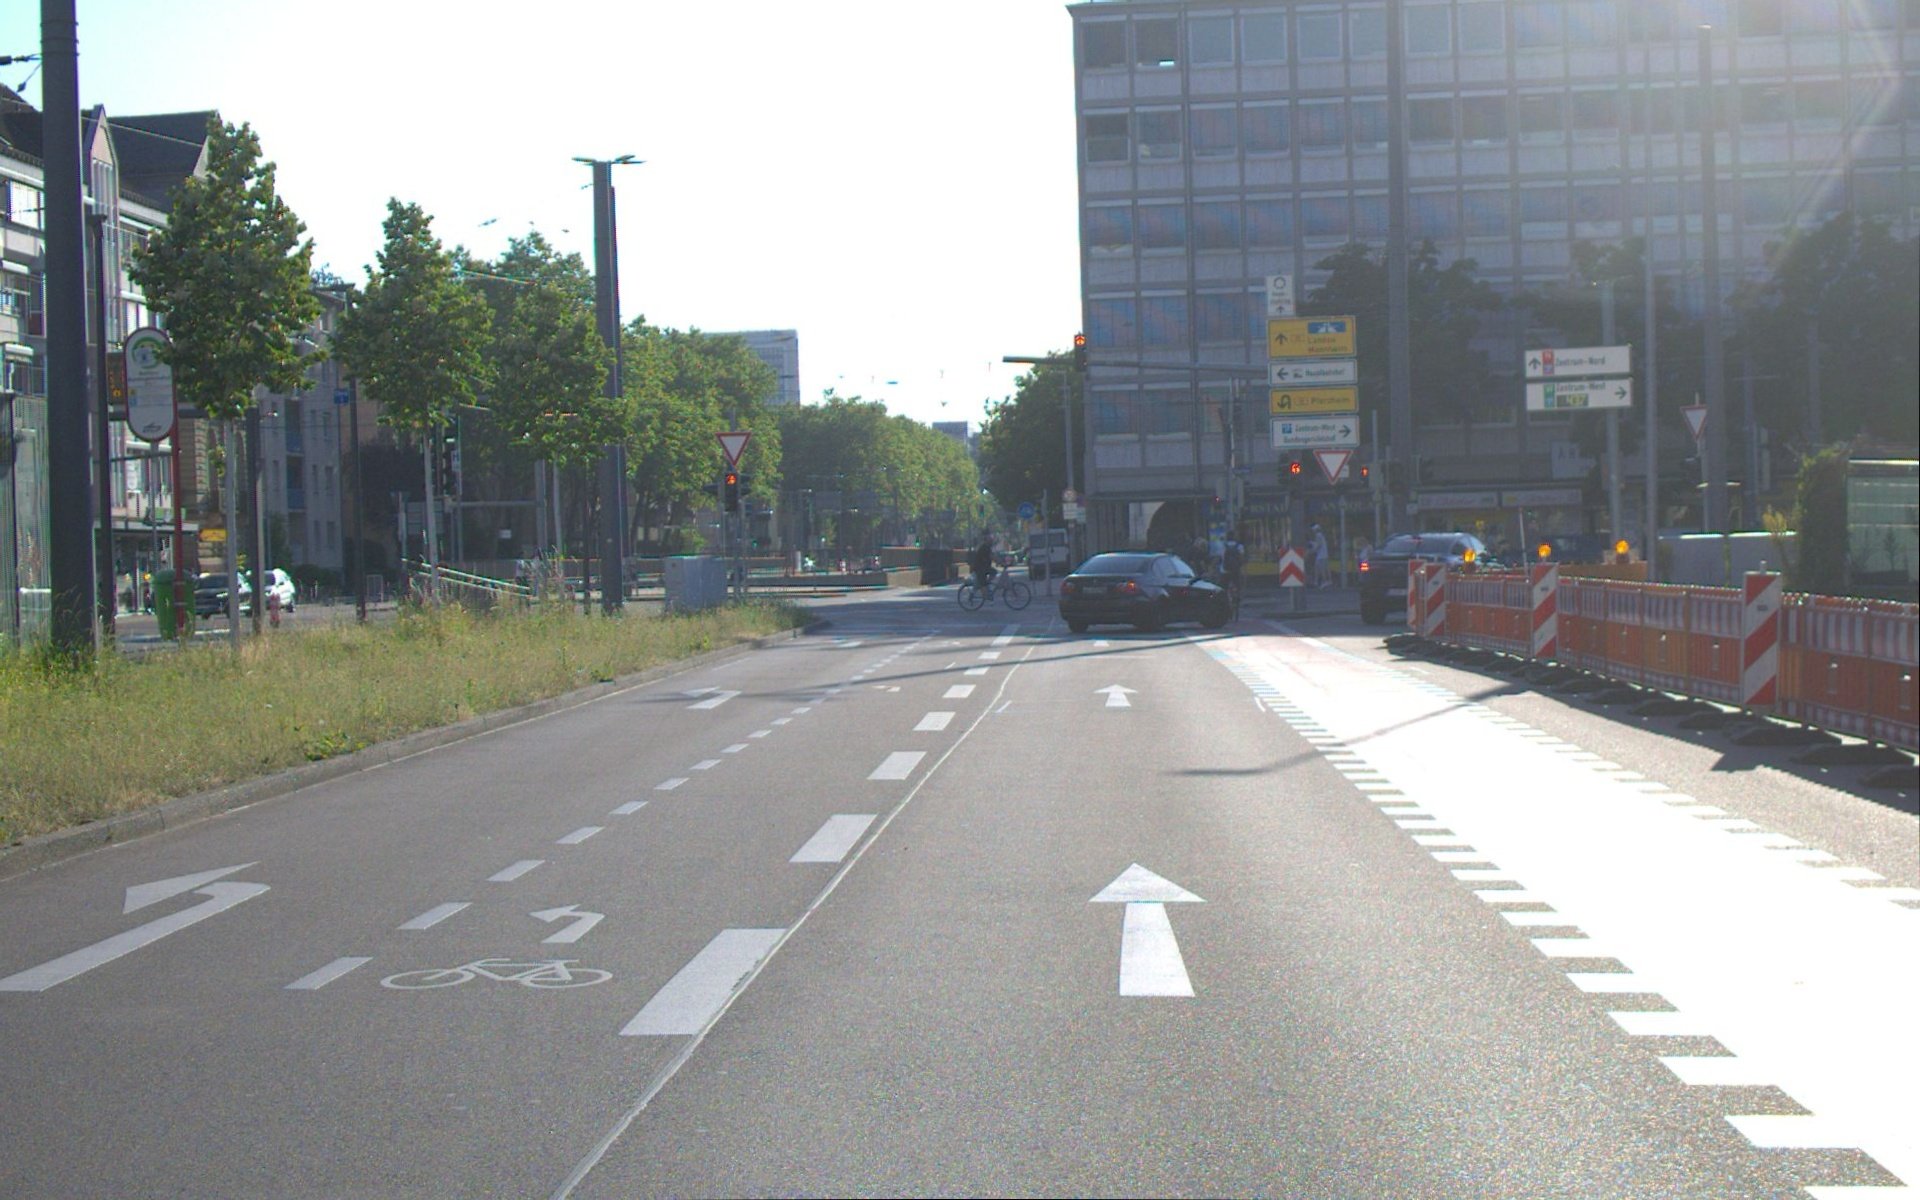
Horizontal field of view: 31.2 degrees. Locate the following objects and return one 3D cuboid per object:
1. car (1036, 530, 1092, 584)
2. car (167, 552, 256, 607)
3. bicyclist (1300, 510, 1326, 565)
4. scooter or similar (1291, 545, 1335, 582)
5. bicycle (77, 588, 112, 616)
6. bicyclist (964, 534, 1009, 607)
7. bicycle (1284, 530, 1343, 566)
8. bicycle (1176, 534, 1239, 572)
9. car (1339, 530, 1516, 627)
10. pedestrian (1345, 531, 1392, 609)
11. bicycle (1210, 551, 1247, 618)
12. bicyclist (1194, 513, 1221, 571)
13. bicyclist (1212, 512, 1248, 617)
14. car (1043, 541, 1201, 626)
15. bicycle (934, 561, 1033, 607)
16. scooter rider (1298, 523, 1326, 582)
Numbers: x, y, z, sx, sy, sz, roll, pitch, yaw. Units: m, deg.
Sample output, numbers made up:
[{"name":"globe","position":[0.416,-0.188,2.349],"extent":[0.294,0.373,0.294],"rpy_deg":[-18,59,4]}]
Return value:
[{"name":"car","position":[4.976,-2.056,164.540],"extent":[2.486,2.384,5.934],"rpy_deg":[-3,1,1]},{"name":"car","position":[-26.793,-0.745,123.100],"extent":[1.994,1.853,4.000],"rpy_deg":[-2,1,4]},{"name":"bicyclist","position":[11.037,-1.952,107.469],"extent":[0.663,1.706,0.538],"rpy_deg":[-2,1,-7]},{"name":"scooter or similar","position":[10.509,-1.082,102.321],"extent":[1.171,1.068,0.530],"rpy_deg":[-2,1,-7]},{"name":"bicycle","position":[-29.659,0.067,117.797],"extent":[0.598,0.912,1.836],"rpy_deg":[-2,1,4]},{"name":"bicyclist","position":[0.628,-0.686,79.928],"extent":[0.959,1.656,0.691],"rpy_deg":[-1,1,5]},{"name":"bicycle","position":[11.039,-1.619,107.472],"extent":[1.731,1.056,0.539],"rpy_deg":[-2,1,-8]},{"name":"bicycle","position":[7.422,-1.420,103.032],"extent":[1.775,1.068,0.535],"rpy_deg":[-2,1,-8]},{"name":"car","position":[8.888,-0.441,65.173],"extent":[1.997,1.687,3.994],"rpy_deg":[1,3,29]},{"name":"pedestrian","position":[8.525,-0.630,71.788],"extent":[0.878,1.592,0.655],"rpy_deg":[-2,1,2]},{"name":"bicycle","position":[5.216,-0.318,66.866],"extent":[0.644,1.219,2.048],"rpy_deg":[0,3,3]},{"name":"bicyclist","position":[7.419,-1.748,103.031],"extent":[0.663,1.706,0.538],"rpy_deg":[-2,1,-7]},{"name":"bicyclist","position":[5.253,-0.705,66.953],"extent":[0.643,2.006,1.067],"rpy_deg":[0,2,3]},{"name":"car","position":[2.939,-0.319,61.548],"extent":[1.745,1.421,3.996],"rpy_deg":[-1,1,19]},{"name":"bicycle","position":[0.556,-0.378,79.941],"extent":[2.227,1.023,0.682],"rpy_deg":[-1,1,5]},{"name":"scooter rider","position":[10.474,-1.411,102.312],"extent":[0.663,1.706,0.527],"rpy_deg":[-2,1,-7]}]
